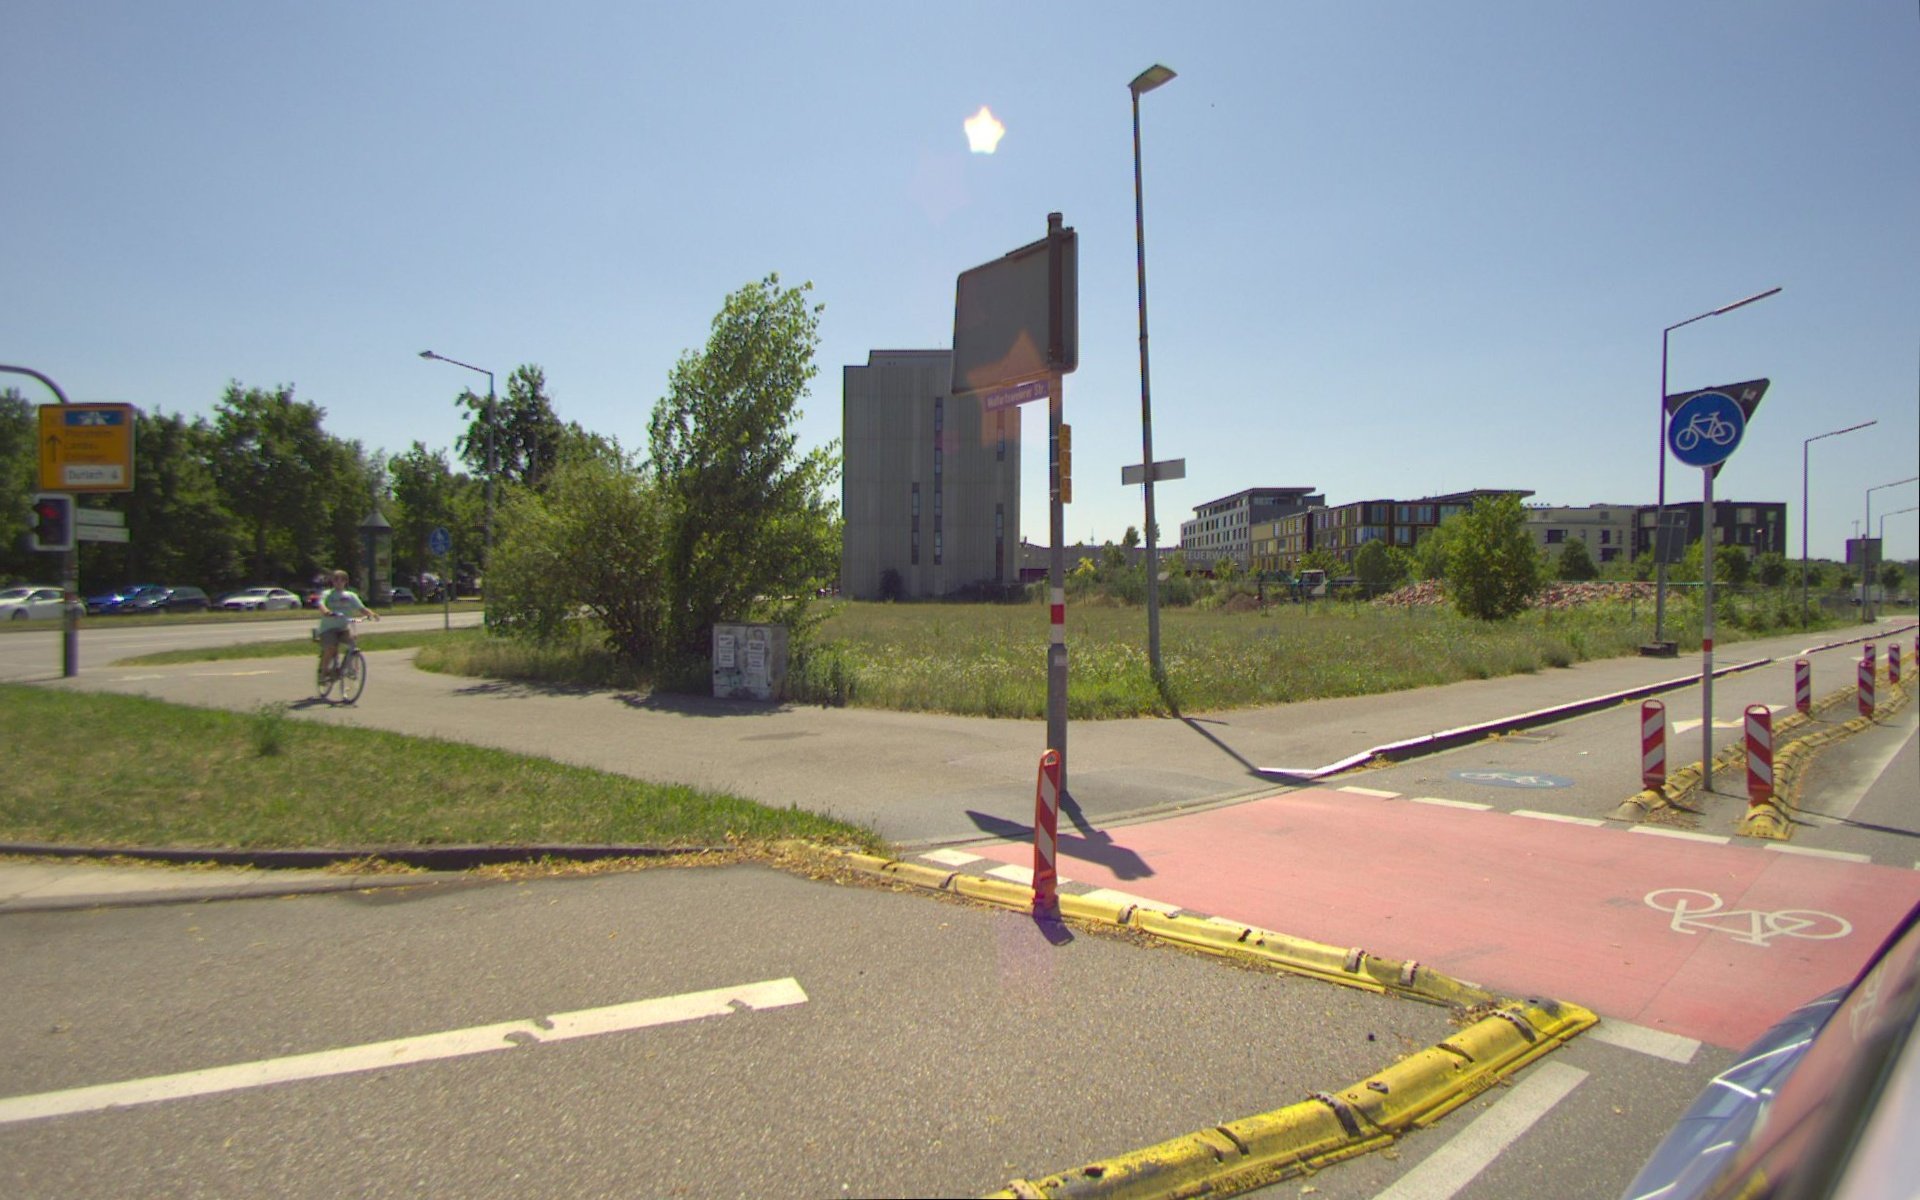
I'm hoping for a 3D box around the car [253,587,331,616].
[{"bbox_3d":[-40.642,0.052,61.688,1.829,1.704,4.408,0,0,0],"label":"car"}]

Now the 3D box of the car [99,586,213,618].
[{"bbox_3d":[-37.293,0.071,47.112,1.829,1.440,4.408,0,0,0],"label":"car"}]

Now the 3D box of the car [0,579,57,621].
[{"bbox_3d":[-40.482,-0.013,42.131,1.829,1.704,4.408,0,0,0],"label":"car"}]

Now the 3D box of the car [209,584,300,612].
[{"bbox_3d":[-37.531,-0.108,53.990,1.829,1.440,4.408,0,0,0],"label":"car"}]

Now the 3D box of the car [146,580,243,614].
[{"bbox_3d":[-40.474,-0.169,53.639,1.829,1.704,4.408,0,0,0],"label":"car"}]

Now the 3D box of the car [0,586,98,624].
[{"bbox_3d":[-37.280,0.163,40.524,1.829,1.440,4.408,0,0,0],"label":"car"}]

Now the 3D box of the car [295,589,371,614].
[{"bbox_3d":[-37.594,0.059,60.816,1.829,1.440,4.408,0,0,0],"label":"car"}]

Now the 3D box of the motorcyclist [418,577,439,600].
[{"bbox_3d":[-37.582,-0.822,71.580,0.892,1.606,1.009,-1,0,2],"label":"motorcyclist"}]

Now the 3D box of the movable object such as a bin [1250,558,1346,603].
[{"bbox_3d":[24.945,-1.440,74.586,7.461,3.189,2.814,-1,0,-35],"label":"movable object such as a bin"}]

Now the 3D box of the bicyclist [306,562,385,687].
[{"bbox_3d":[-8.552,0.311,14.069,0.736,1.661,1.161,0,1,-42],"label":"bicyclist"}]

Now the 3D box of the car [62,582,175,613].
[{"bbox_3d":[-40.600,-0.144,48.996,1.829,1.440,4.408,0,0,0],"label":"car"}]

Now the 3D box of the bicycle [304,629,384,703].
[{"bbox_3d":[-8.507,0.872,13.947,0.618,0.890,1.872,0,0,-42],"label":"bicycle"}]

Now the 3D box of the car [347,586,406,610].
[{"bbox_3d":[-37.906,-0.116,65.840,1.688,1.493,3.798,-1,0,-1],"label":"car"}]
